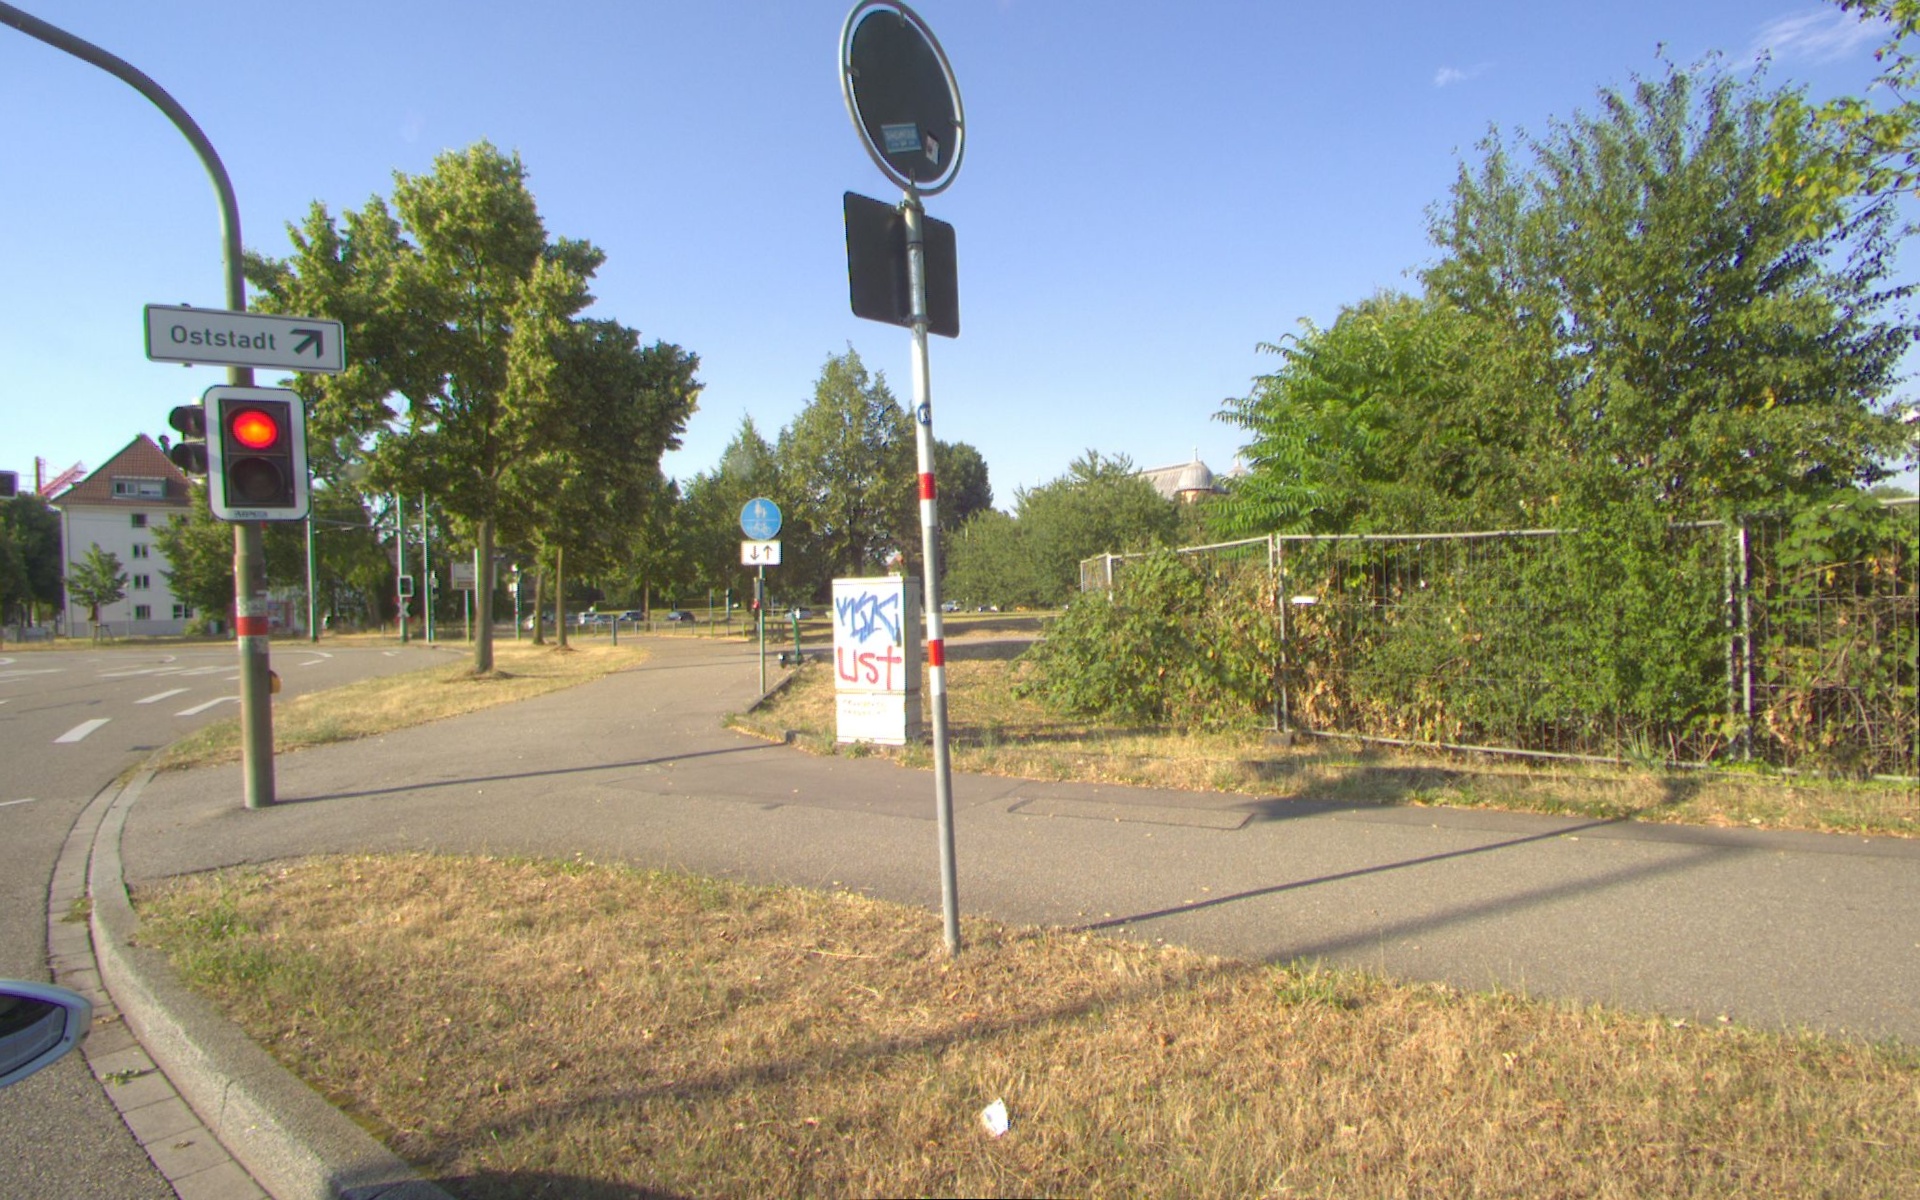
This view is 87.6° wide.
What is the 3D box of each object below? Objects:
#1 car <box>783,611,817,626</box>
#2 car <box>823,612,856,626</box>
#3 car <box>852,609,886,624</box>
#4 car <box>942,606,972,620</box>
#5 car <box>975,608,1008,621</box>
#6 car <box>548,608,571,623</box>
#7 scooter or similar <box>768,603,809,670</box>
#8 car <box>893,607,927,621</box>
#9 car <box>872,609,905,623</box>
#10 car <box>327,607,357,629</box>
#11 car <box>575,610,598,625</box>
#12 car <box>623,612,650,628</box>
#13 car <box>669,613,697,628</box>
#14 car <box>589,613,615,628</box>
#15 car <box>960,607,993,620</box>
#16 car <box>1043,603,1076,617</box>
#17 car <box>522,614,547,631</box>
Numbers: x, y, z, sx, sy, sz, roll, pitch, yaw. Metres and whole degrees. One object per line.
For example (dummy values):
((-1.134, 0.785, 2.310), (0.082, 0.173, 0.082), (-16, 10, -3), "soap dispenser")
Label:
((-15.986, 1.883, 99.972), (1.803, 1.421, 3.976), (-1, -1, -33), "car")
((-12.392, 1.974, 103.110), (1.803, 1.421, 3.976), (-1, -1, -33), "car")
((-9.524, 1.759, 104.223), (1.802, 1.421, 3.976), (-3, 1, -33), "car")
((-0.391, 1.628, 123.605), (1.803, 1.694, 3.976), (-1, 0, -33), "car")
((3.501, 1.649, 112.892), (1.803, 1.421, 3.976), (-1, -1, -33), "car")
((-39.240, 1.517, 98.062), (1.583, 1.420, 3.950), (-1, 0, -29), "car")
((-3.288, 0.686, 19.249), (0.336, 1.175, 1.169), (-4, 2, 8), "scooter or similar")
((-5.348, 1.526, 106.927), (1.803, 1.421, 3.976), (-1, -1, -33), "car")
((-7.542, 1.674, 105.480), (1.803, 1.421, 3.976), (-1, -1, -33), "car")
((-48.121, 1.436, 78.078), (1.751, 1.639, 3.950), (-1, 0, -29), "car")
((-37.197, 1.732, 99.601), (1.583, 1.420, 3.950), (-1, 0, -29), "car")
((-29.218, 1.789, 90.486), (1.583, 1.420, 3.950), (-1, 0, -29), "car")
((-25.734, 1.931, 92.875), (1.583, 1.327, 3.950), (-1, -1, -29), "car")
((-32.029, 1.840, 89.591), (1.583, 1.237, 3.950), (-1, -1, -29), "car")
((1.805, 1.515, 111.344), (1.803, 1.421, 3.976), (-1, -1, -33), "car")
((11.747, 1.126, 118.491), (1.803, 1.590, 3.974), (-1, 1, -33), "car")
((-36.754, 1.937, 86.430), (1.583, 1.420, 3.950), (-1, 0, -29), "car")
